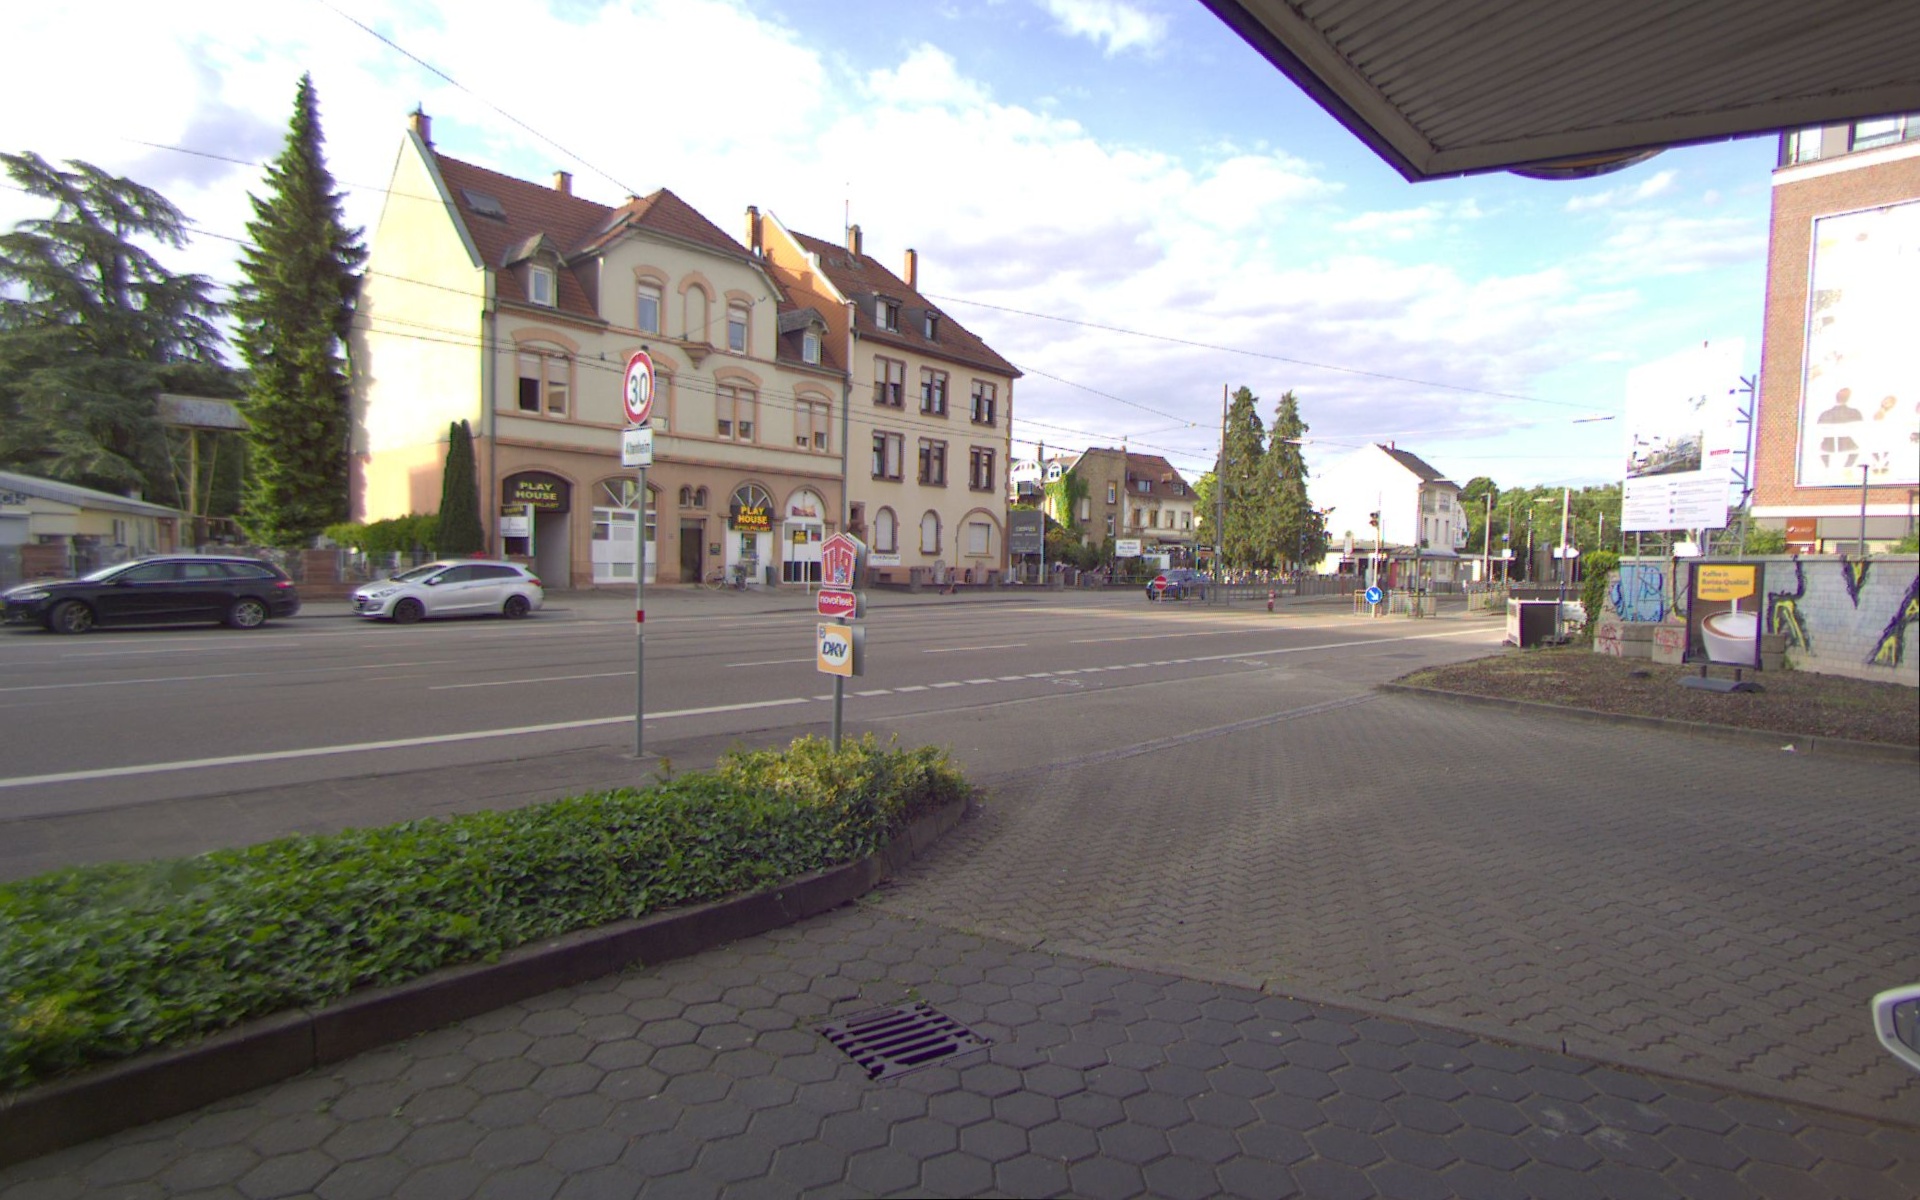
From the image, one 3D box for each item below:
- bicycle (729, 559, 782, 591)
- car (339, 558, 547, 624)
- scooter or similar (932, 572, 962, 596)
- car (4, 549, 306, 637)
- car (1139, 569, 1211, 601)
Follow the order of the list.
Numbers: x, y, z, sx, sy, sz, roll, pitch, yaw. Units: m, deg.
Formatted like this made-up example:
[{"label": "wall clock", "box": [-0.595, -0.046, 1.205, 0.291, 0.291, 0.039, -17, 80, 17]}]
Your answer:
[{"label": "bicycle", "box": [-8.258, -0.998, 40.618, 0.741, 1.219, 2.011, 8, 5, 41]}, {"label": "car", "box": [-12.938, -0.247, 25.346, 1.718, 1.502, 4.357, 3, 2, 41]}, {"label": "scooter or similar", "box": [-0.577, -0.711, 45.085, 0.437, 1.006, 1.460, 6, 5, 41]}, {"label": "car", "box": [-16.496, -0.171, 20.807, 1.827, 1.542, 4.642, 5, 4, 40]}, {"label": "car", "box": [10.543, -0.755, 49.095, 1.834, 1.489, 4.121, 3, 3, 37]}]
